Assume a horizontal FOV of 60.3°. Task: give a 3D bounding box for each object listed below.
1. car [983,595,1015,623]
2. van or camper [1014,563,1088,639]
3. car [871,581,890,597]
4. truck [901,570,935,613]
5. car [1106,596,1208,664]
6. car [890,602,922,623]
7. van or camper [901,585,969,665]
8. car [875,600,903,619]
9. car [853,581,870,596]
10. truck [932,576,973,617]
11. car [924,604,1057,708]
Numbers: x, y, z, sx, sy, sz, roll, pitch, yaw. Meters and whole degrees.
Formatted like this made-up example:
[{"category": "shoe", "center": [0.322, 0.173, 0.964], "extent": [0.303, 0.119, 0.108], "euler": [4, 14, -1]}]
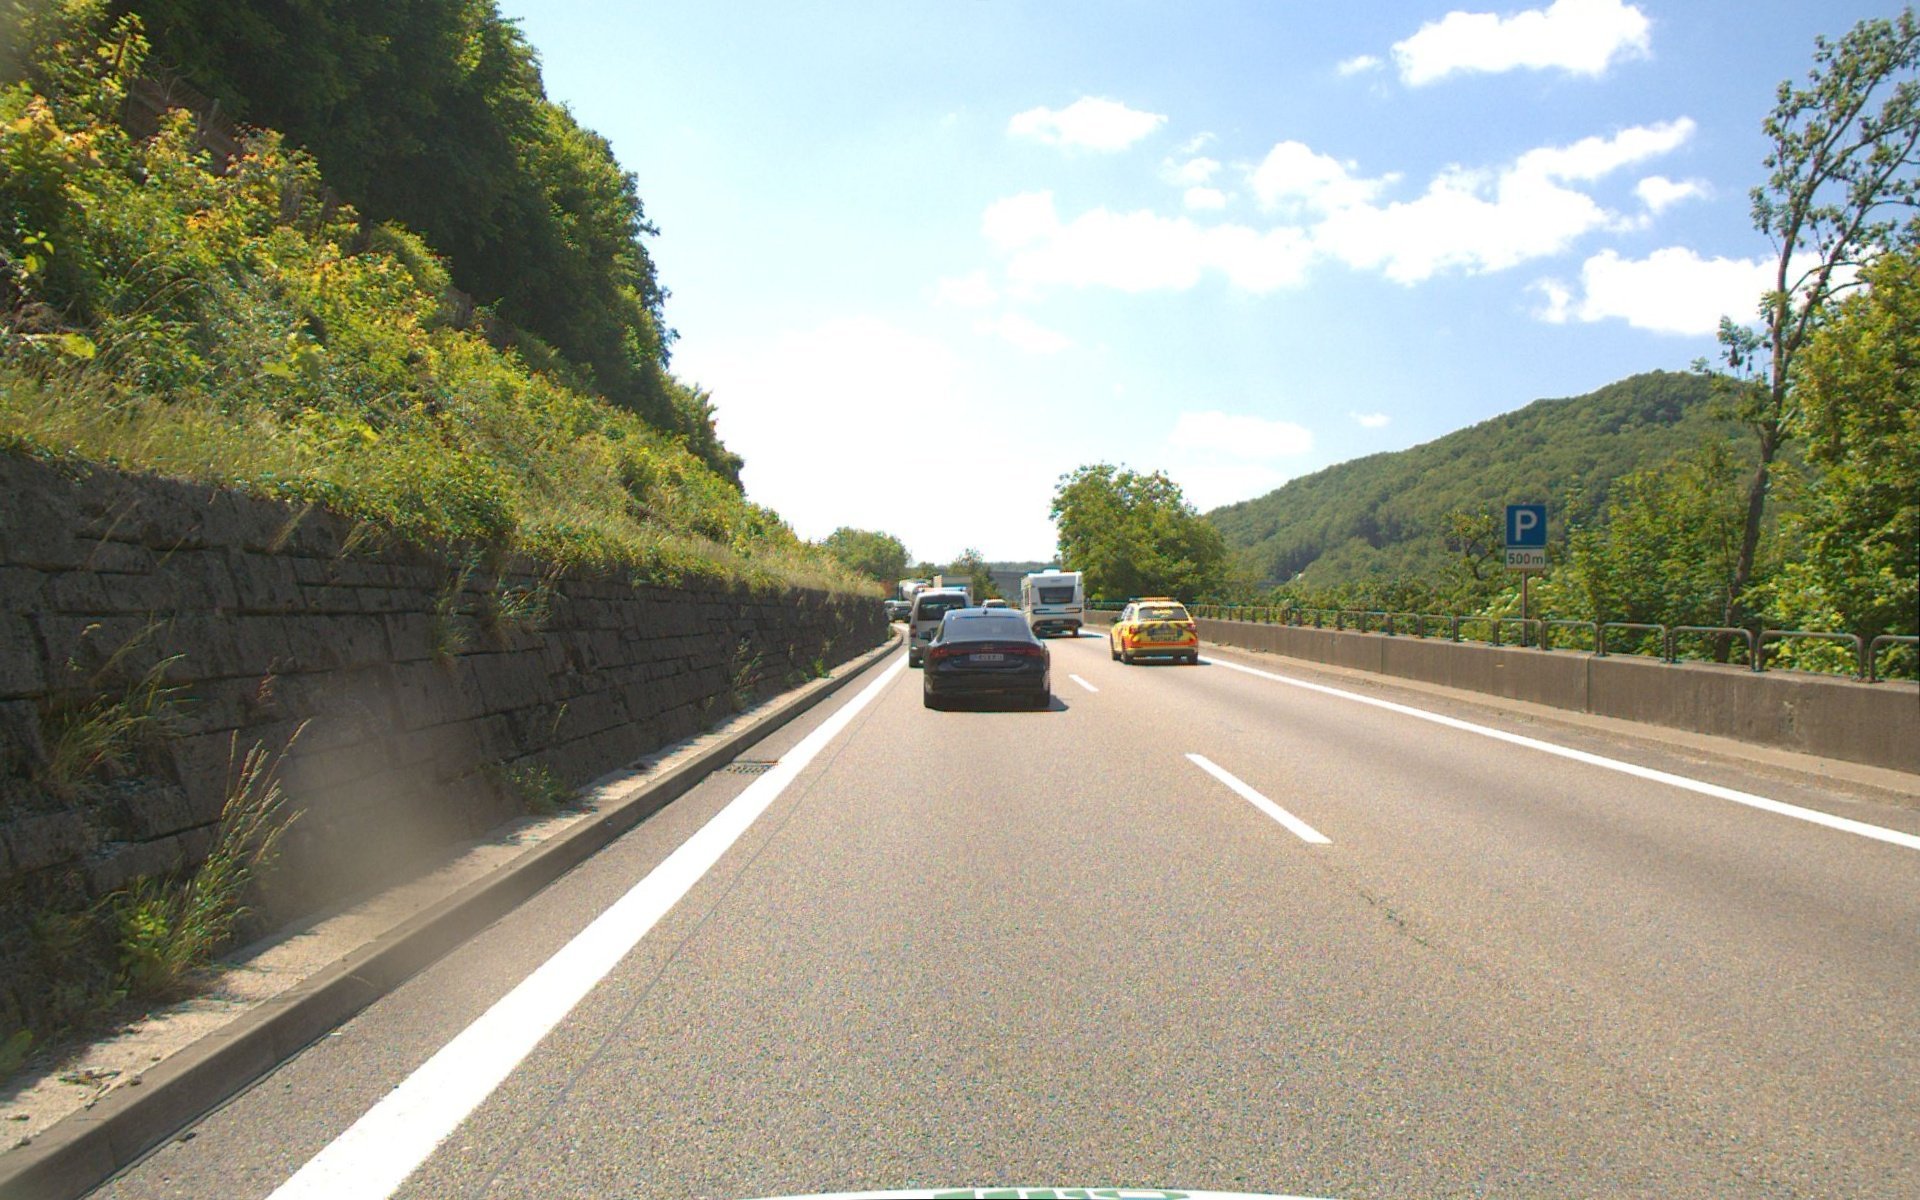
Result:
[{"category": "car", "center": [2.414, 0.560, 103.525], "extent": [1.804, 1.747, 3.999], "euler": [0, 0, -1]}, {"category": "van or camper", "center": [3.779, 0.114, 69.892], "extent": [2.406, 2.969, 6.122], "euler": [2, -1, -3]}, {"category": "car", "center": [-10.376, -1.434, 215.826], "extent": [1.957, 2.049, 3.992], "euler": [2, 0, -9]}, {"category": "truck", "center": [-4.250, -0.831, 164.194], "extent": [2.681, 4.168, 7.468], "euler": [0, 0, -7]}, {"category": "car", "center": [4.743, 0.728, 40.273], "extent": [1.825, 1.514, 3.998], "euler": [2, -1, -2]}, {"category": "car", "center": [-4.187, 0.927, 127.224], "extent": [1.957, 1.489, 3.992], "euler": [2, 0, -9]}, {"category": "van or camper", "center": [-0.667, 0.632, 41.381], "extent": [1.364, 1.847, 3.996], "euler": [2, -1, -5]}, {"category": "car", "center": [-6.111, 0.787, 141.399], "extent": [1.957, 1.489, 3.992], "euler": [2, 0, -9]}, {"category": "car", "center": [-14.450, -1.674, 242.457], "extent": [1.957, 2.049, 3.992], "euler": [2, 0, -9]}, {"category": "truck", "center": [-0.660, -0.262, 134.049], "extent": [2.785, 3.186, 7.472], "euler": [0, 0, -5]}, {"category": "car", "center": [0.402, 0.818, 25.105], "extent": [1.800, 1.373, 3.999], "euler": [2, -1, -1]}]
